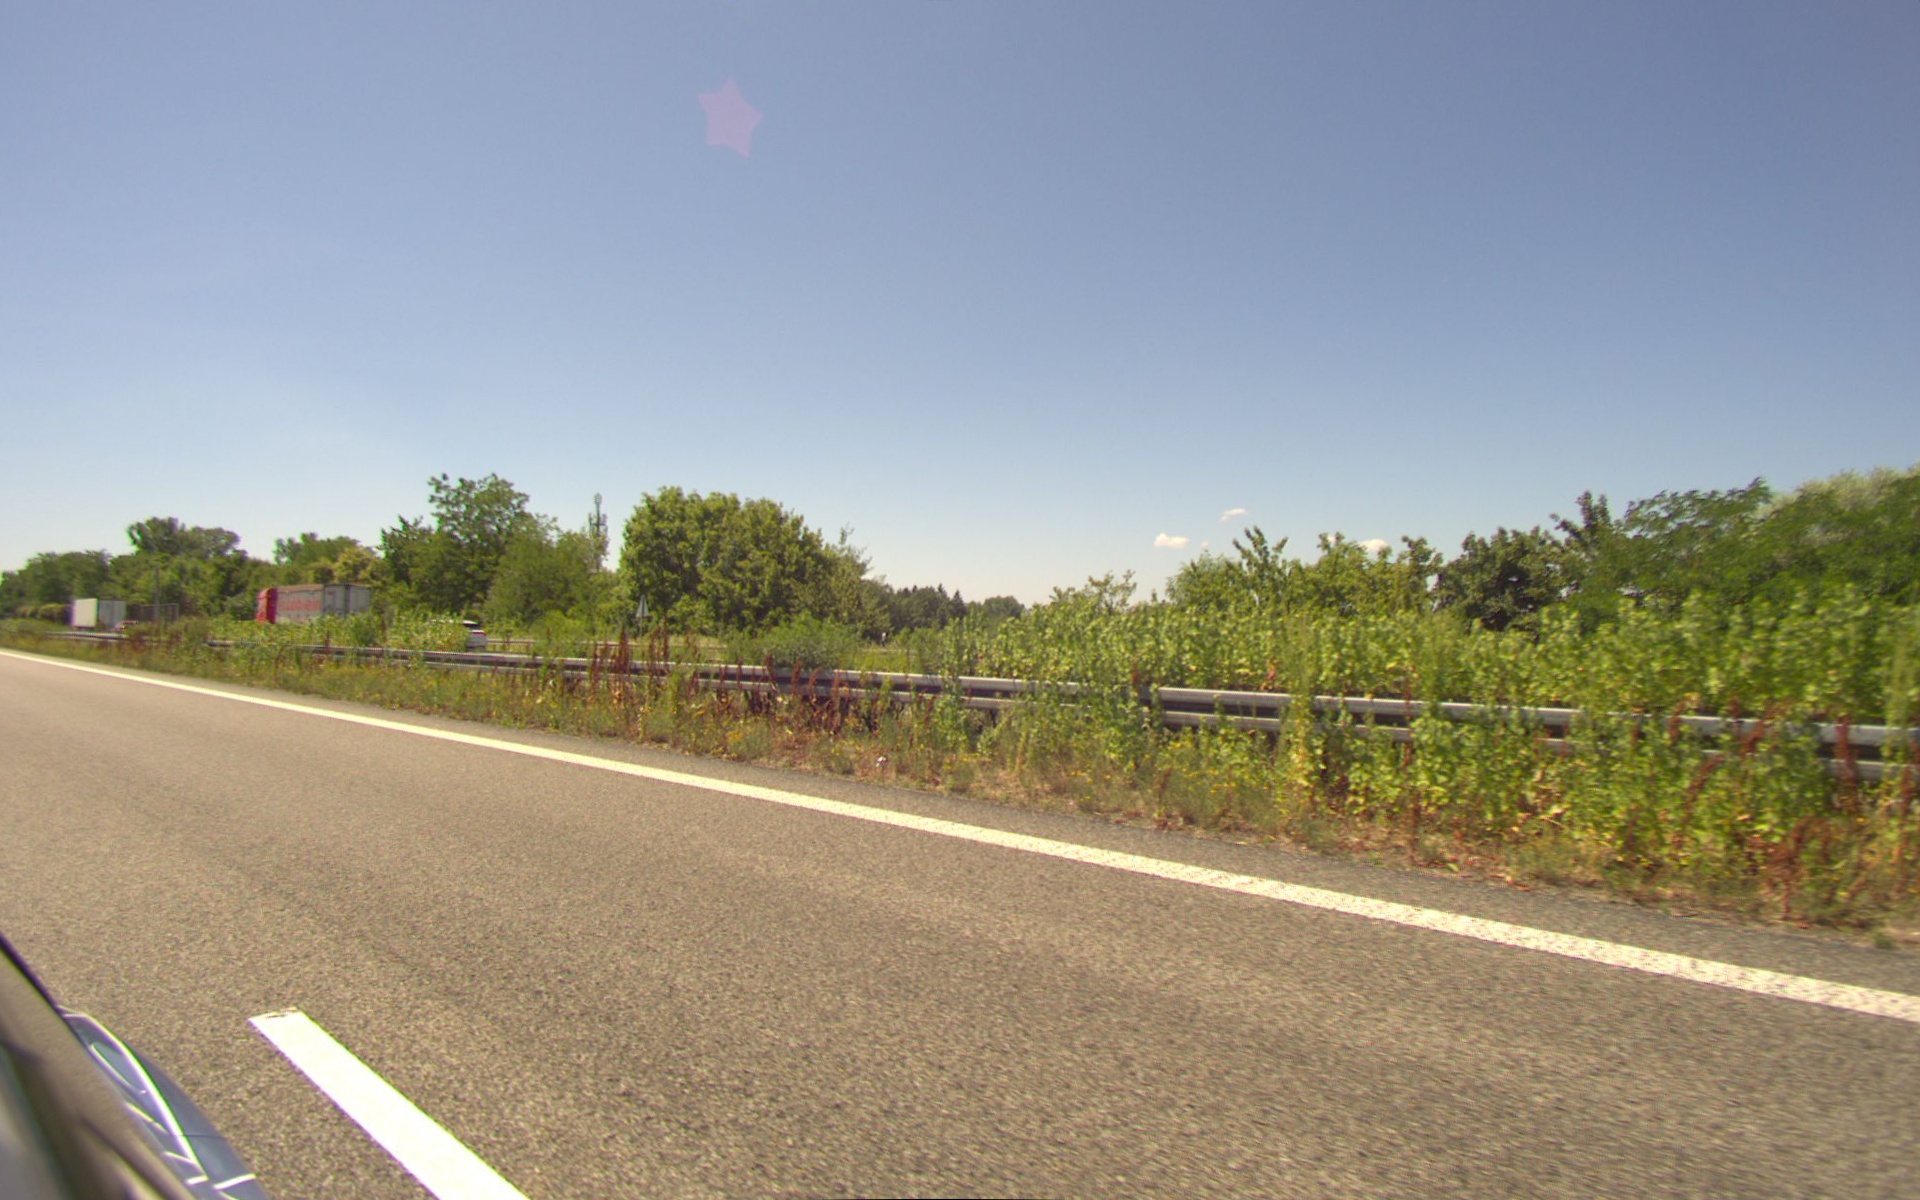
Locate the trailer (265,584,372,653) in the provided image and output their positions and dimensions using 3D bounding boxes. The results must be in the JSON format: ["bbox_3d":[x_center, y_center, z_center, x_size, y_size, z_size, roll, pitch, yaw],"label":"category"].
[{"bbox_3d":[-40.187,1.137,63.142,10.625,4.005,2.900,-1,-1,42],"label":"trailer"}]

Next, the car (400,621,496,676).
[{"bbox_3d":[-20.508,1.895,40.488,3.996,2.029,1.974,-1,0,40],"label":"car"}]

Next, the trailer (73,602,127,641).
[{"bbox_3d":[-94.130,2.330,110.668,12.317,4.005,2.901,-1,-1,42],"label":"trailer"}]

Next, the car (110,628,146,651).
[{"bbox_3d":[-66.843,3.171,81.283,4.001,1.735,1.794,-1,0,44],"label":"car"}]

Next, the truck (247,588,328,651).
[{"bbox_3d":[-44.693,1.266,67.182,6.360,4.006,2.929,-1,-1,42],"label":"truck"}]
